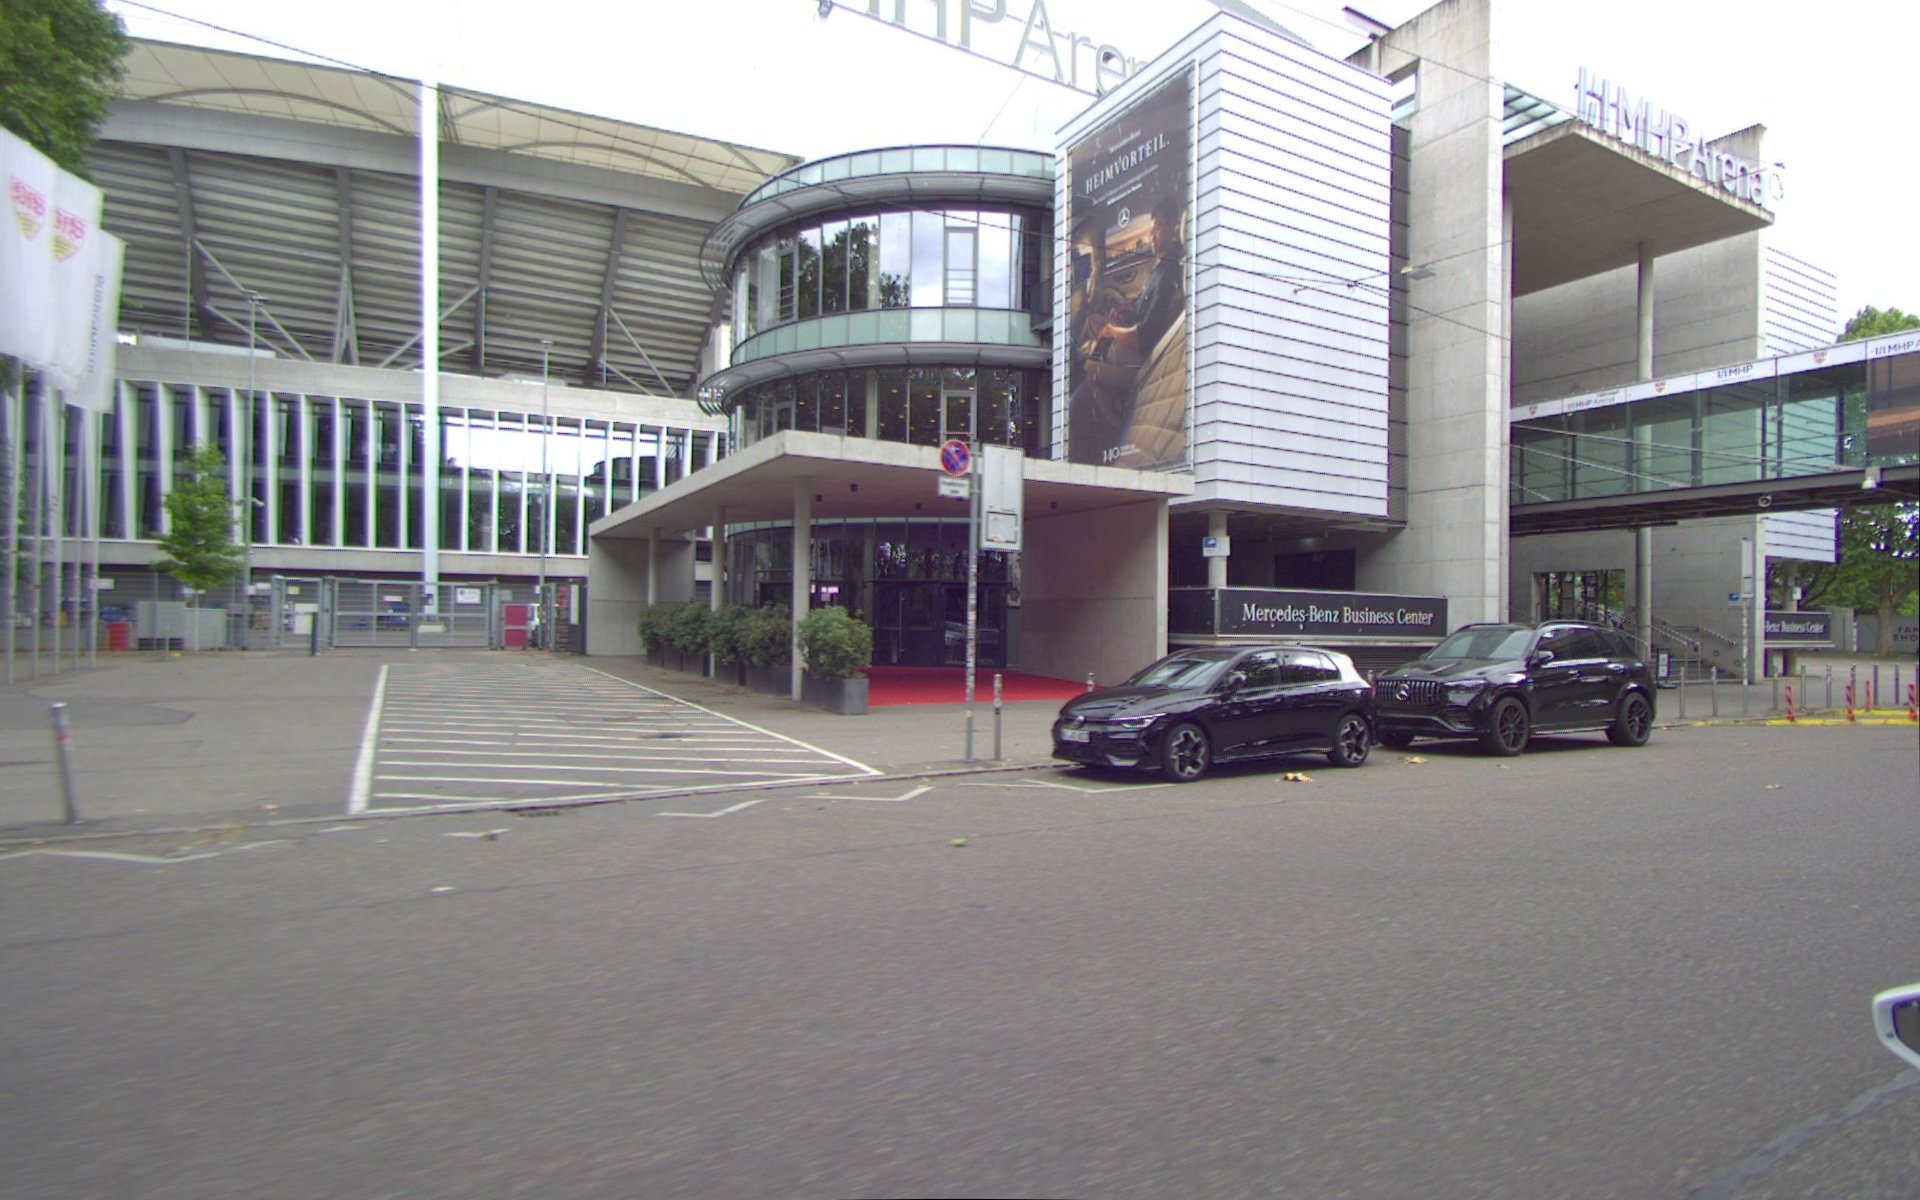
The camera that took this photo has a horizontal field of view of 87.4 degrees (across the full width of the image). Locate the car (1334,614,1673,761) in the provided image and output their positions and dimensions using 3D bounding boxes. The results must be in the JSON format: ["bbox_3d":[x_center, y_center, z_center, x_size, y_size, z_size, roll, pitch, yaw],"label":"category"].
[{"bbox_3d":[7.905,1.181,14.528,4.849,1.812,2.026,1,-4,-30],"label":"car"}]

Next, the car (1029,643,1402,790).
[{"bbox_3d":[3.064,1.250,11.820,4.273,1.438,1.697,1,-4,-30],"label":"car"}]
